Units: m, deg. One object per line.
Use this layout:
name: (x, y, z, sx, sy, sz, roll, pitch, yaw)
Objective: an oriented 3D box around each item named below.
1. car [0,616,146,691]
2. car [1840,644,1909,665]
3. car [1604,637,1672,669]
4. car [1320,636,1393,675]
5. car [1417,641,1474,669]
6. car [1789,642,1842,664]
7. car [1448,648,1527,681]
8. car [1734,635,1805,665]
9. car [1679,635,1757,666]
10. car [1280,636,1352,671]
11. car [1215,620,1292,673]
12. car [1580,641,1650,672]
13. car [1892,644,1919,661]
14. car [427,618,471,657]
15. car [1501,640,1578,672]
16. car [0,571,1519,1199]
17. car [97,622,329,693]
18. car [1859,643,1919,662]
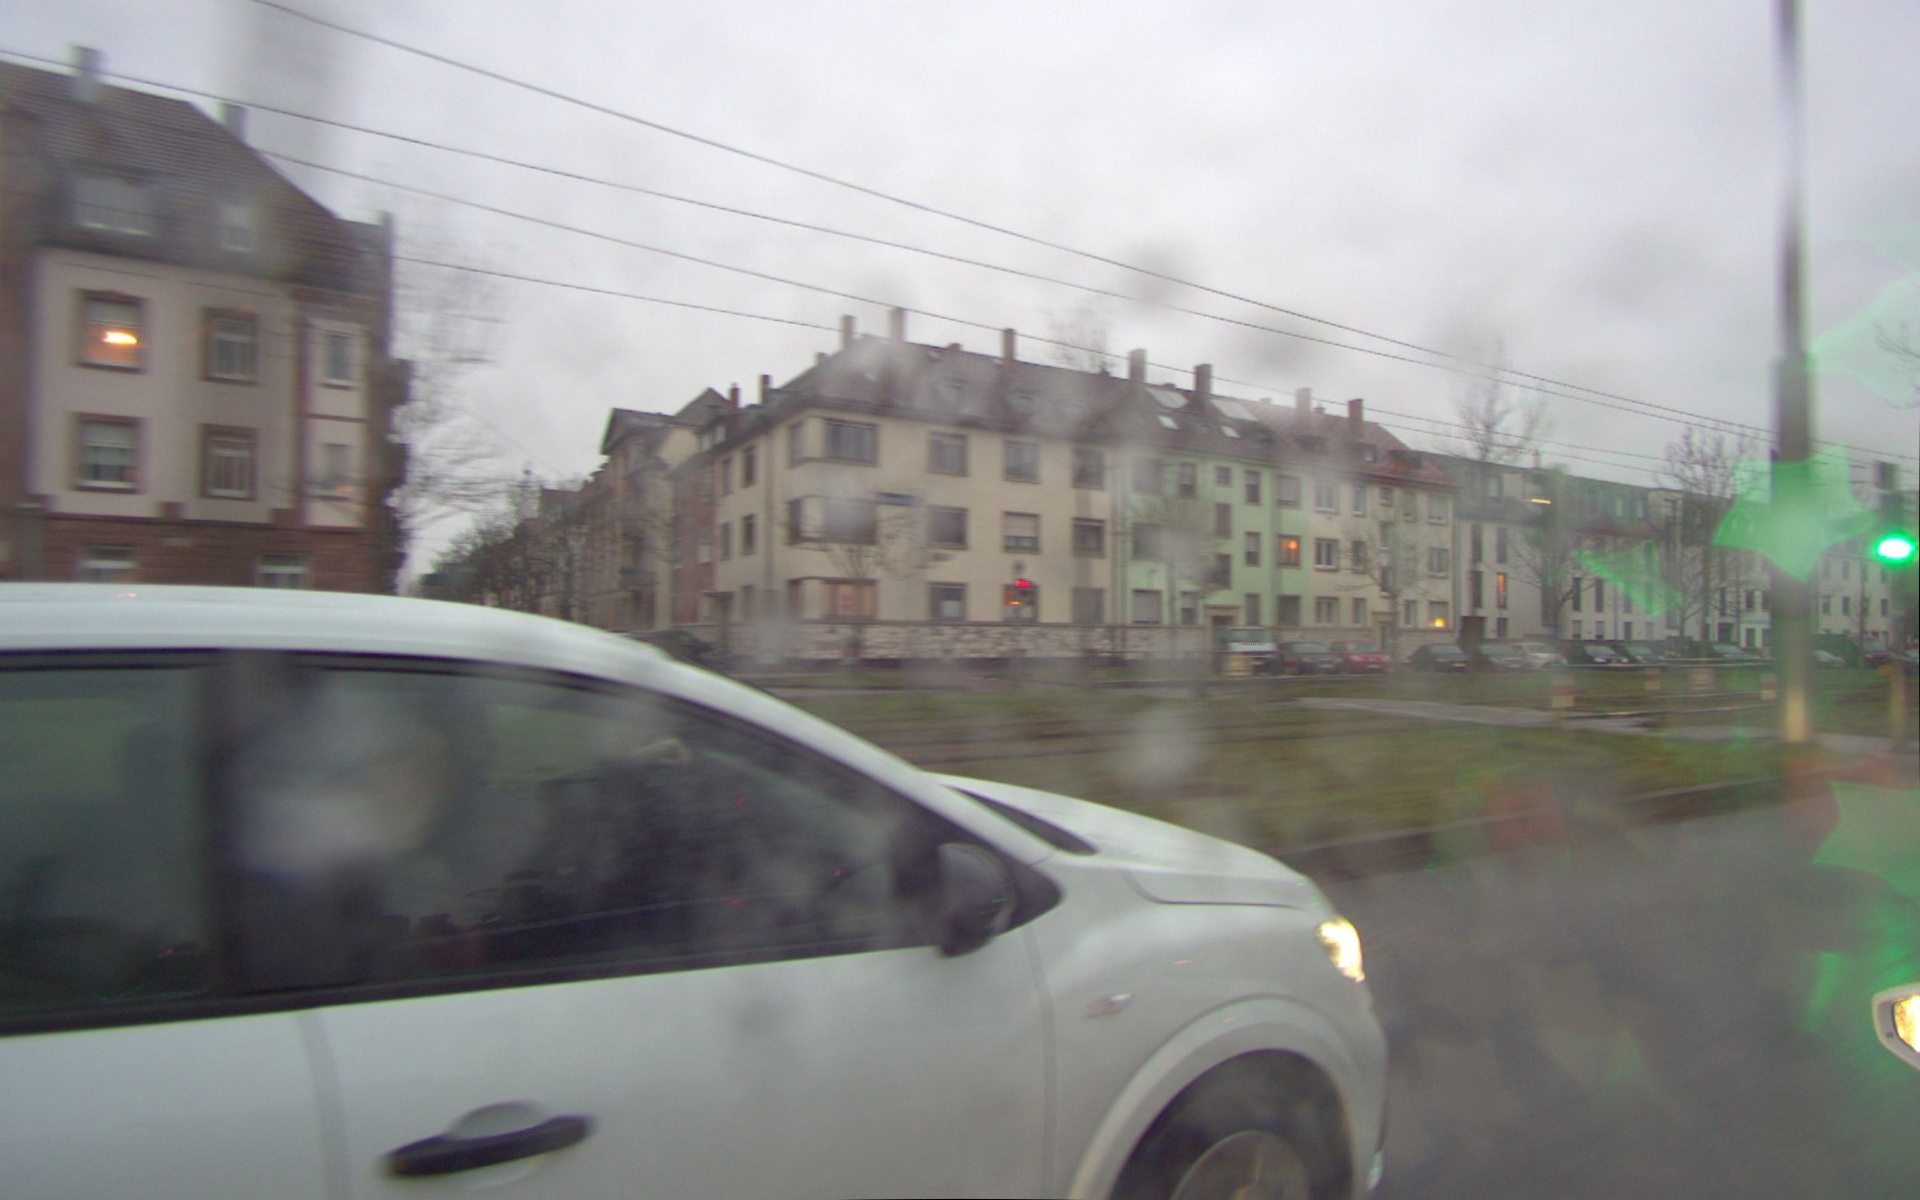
car: (-18.906, 1.062, 20.290, 1.321, 1.247, 4.046, 3, 2, 6)
car: (64.886, 3.849, 71.342, 1.713, 1.228, 3.541, 1, 0, 1)
car: (35.429, 2.756, 52.599, 1.636, 1.441, 3.387, 1, 0, 8)
car: (16.205, 2.238, 41.204, 1.653, 1.326, 3.581, 1, 0, 2)
car: (21.465, 2.423, 44.491, 1.408, 1.062, 2.393, 1, 0, 2)
car: (54.899, 3.390, 64.508, 1.360, 1.220, 2.890, 1, 0, 11)
car: (24.004, 2.913, 45.887, 1.703, 1.188, 3.822, 1, 0, 2)
car: (49.073, 2.976, 60.977, 1.707, 1.610, 3.852, 1, 0, 11)
car: (43.550, 2.880, 57.843, 1.636, 1.561, 4.165, 1, 0, 6)
car: (14.088, 2.098, 39.939, 1.702, 1.156, 3.573, 1, 0, 2)
car: (11.043, 1.686, 38.123, 1.796, 1.746, 4.660, 1, 0, 4)
car: (33.205, 2.832, 51.003, 1.703, 1.354, 2.937, 1, 0, 2)
car: (71.011, 3.928, 73.944, 1.658, 1.162, 3.419, 1, 0, 1)
car: (-24.834, 1.788, 48.750, 1.781, 1.731, 3.680, 2, 0, -28)
car: (27.269, 2.597, 47.422, 1.702, 1.262, 3.845, 1, 0, 6)
car: (-0.826, 0.727, 1.968, 3.957, 1.494, 1.679, 2, 0, -33)
car: (-16.373, 1.203, 22.317, 1.677, 1.176, 4.107, 3, 2, 9)
car: (67.557, 3.793, 72.679, 1.845, 1.216, 3.541, 1, 0, 1)
